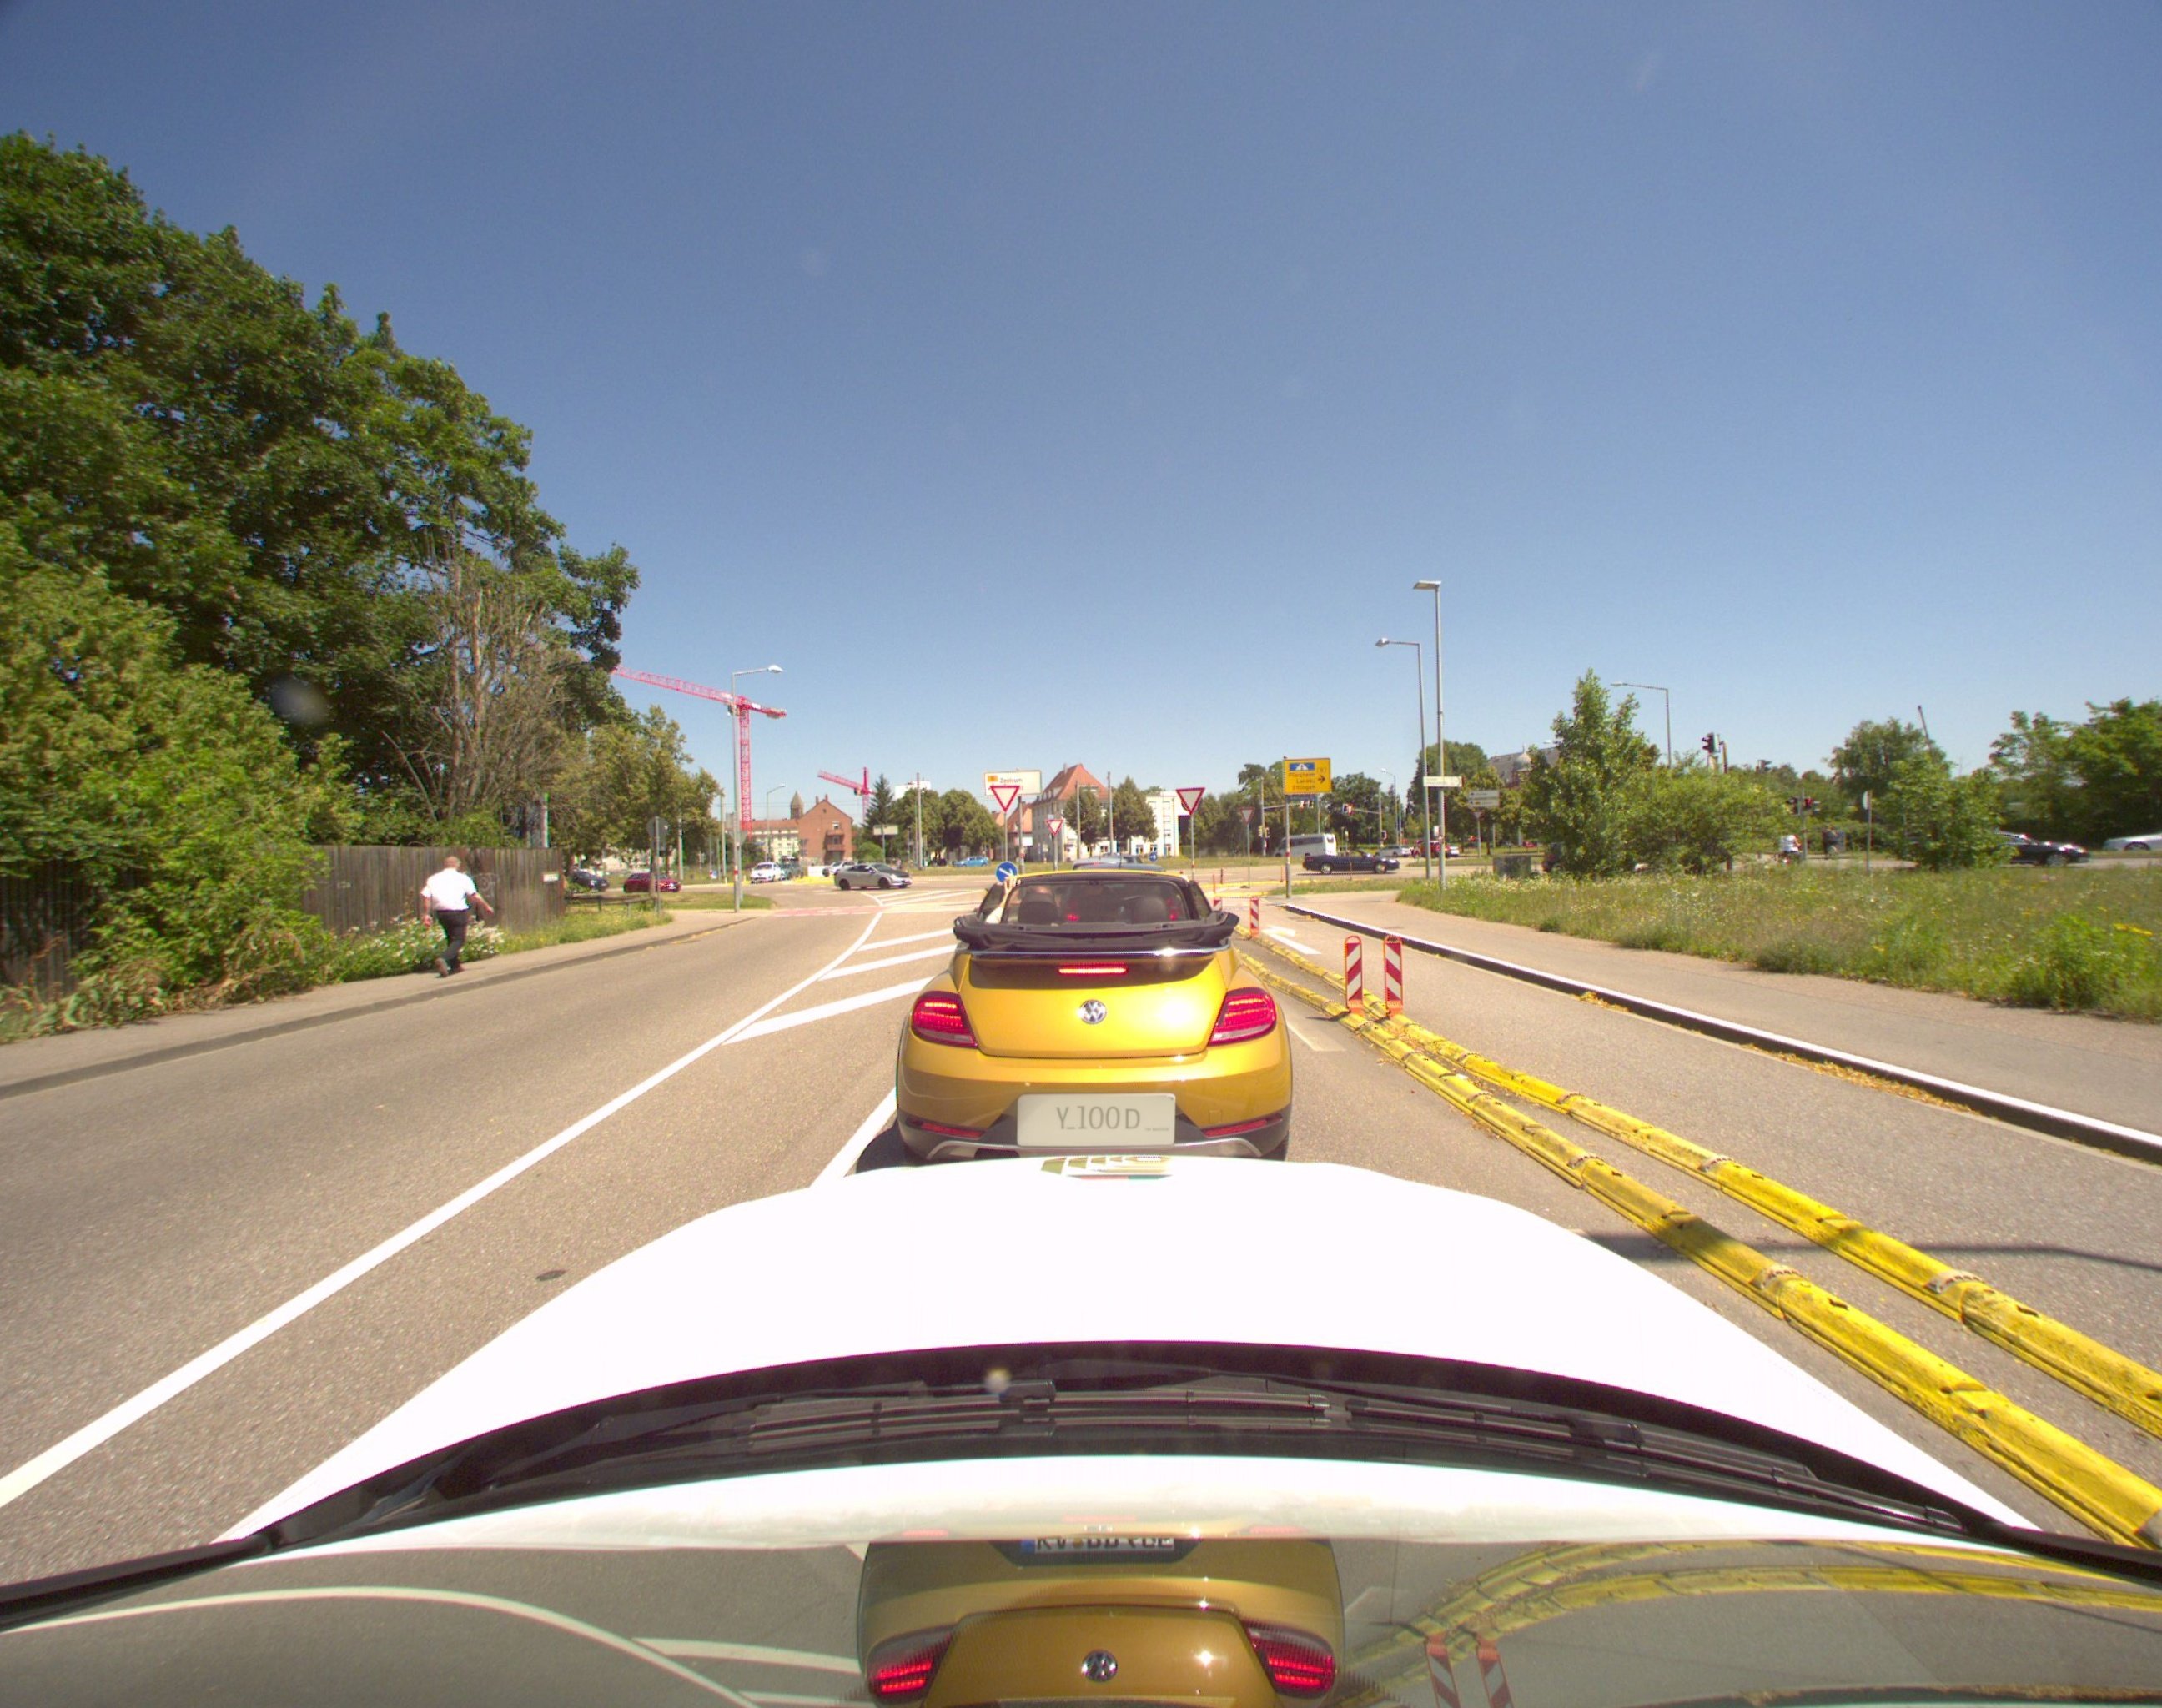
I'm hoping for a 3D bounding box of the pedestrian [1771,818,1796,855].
[{"bbox_3d":[36.508,-0.903,42.320,0.647,1.870,0.737,-1,-1,3],"label":"pedestrian"}]

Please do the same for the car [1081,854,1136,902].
[{"bbox_3d":[0.931,0.758,27.566,1.730,1.477,4.002,-1,0,2],"label":"car"}]

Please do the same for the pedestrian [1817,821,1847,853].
[{"bbox_3d":[37.870,-0.844,41.057,0.787,1.563,0.825,-1,0,13],"label":"pedestrian"}]

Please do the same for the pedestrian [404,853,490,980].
[{"bbox_3d":[-9.522,0.907,12.257,0.590,1.825,0.851,-1,0,2],"label":"pedestrian"}]

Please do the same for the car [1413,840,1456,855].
[{"bbox_3d":[32.193,-0.570,74.215,1.651,1.300,3.779,-1,0,-13],"label":"car"}]

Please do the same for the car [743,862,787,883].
[{"bbox_3d":[-24.631,1.427,63.557,1.749,1.549,4.002,-1,0,2],"label":"car"}]

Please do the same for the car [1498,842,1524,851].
[{"bbox_3d":[79.448,-1.393,150.486,3.993,1.714,1.990,-1,0,-15],"label":"car"}]

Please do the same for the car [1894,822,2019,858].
[{"bbox_3d":[47.724,-0.735,44.495,2.011,1.806,4.551,-1,0,-43],"label":"car"}]

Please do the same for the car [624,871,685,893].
[{"bbox_3d":[-27.751,1.823,52.992,3.611,1.316,1.834,-1,0,30],"label":"car"}]

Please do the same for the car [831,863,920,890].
[{"bbox_3d":[-10.808,1.198,42.834,4.226,1.316,1.833,-1,0,23],"label":"car"}]

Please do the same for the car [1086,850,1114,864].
[{"bbox_3d":[2.327,0.406,97.428,3.203,1.606,1.653,-1,0,4],"label":"car"}]

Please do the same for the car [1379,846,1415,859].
[{"bbox_3d":[35.457,-0.196,91.472,1.656,1.424,3.767,-1,0,-22],"label":"car"}]

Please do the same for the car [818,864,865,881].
[{"bbox_3d":[-23.193,1.801,78.993,1.690,1.500,4.247,-1,0,34],"label":"car"}]

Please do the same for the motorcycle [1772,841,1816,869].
[{"bbox_3d":[25.795,0.033,29.463,1.712,0.970,0.625,-1,0,-28],"label":"motorcycle"}]

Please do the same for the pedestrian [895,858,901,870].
[{"bbox_3d":[-24.824,1.365,110.511,0.492,1.563,0.596,-2,0,35],"label":"pedestrian"}]

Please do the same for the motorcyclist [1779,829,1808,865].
[{"bbox_3d":[25.815,-0.255,29.509,0.616,1.289,0.576,-1,-1,-27],"label":"motorcyclist"}]

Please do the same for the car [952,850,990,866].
[{"bbox_3d":[-13.019,0.464,96.843,4.017,1.838,1.978,-1,0,-36],"label":"car"}]

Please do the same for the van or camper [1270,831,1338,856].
[{"bbox_3d":[25.977,-1.143,95.043,2.527,2.693,7.421,-1,0,-43],"label":"van or camper"}]

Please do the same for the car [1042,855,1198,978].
[{"bbox_3d":[0.528,0.756,11.749,1.841,1.442,4.002,-1,0,2],"label":"car"}]

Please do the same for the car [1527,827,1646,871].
[{"bbox_3d":[22.039,-0.202,35.688,3.960,1.816,2.007,-1,0,12],"label":"car"}]

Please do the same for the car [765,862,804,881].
[{"bbox_3d":[-25.249,1.459,69.433,1.749,1.549,4.002,-1,0,2],"label":"car"}]

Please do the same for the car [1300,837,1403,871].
[{"bbox_3d":[13.927,0.005,42.252,4.903,1.656,2.007,-1,0,13],"label":"car"}]

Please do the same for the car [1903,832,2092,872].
[{"bbox_3d":[34.960,-0.054,31.276,4.474,1.447,1.834,-1,0,34],"label":"car"}]

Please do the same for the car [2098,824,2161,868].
[{"bbox_3d":[50.428,-0.395,37.007,5.022,2.014,2.012,-1,0,45],"label":"car"}]

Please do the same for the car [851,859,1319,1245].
[{"bbox_3d":[0.067,0.760,4.972,1.746,1.422,3.779,-1,0,1],"label":"car"}]

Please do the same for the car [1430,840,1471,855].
[{"bbox_3d":[35.867,-0.619,79.196,1.651,1.300,3.779,-1,0,-13],"label":"car"}]

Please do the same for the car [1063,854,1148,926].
[{"bbox_3d":[0.571,0.749,18.767,1.730,1.442,4.002,-1,0,2],"label":"car"}]
